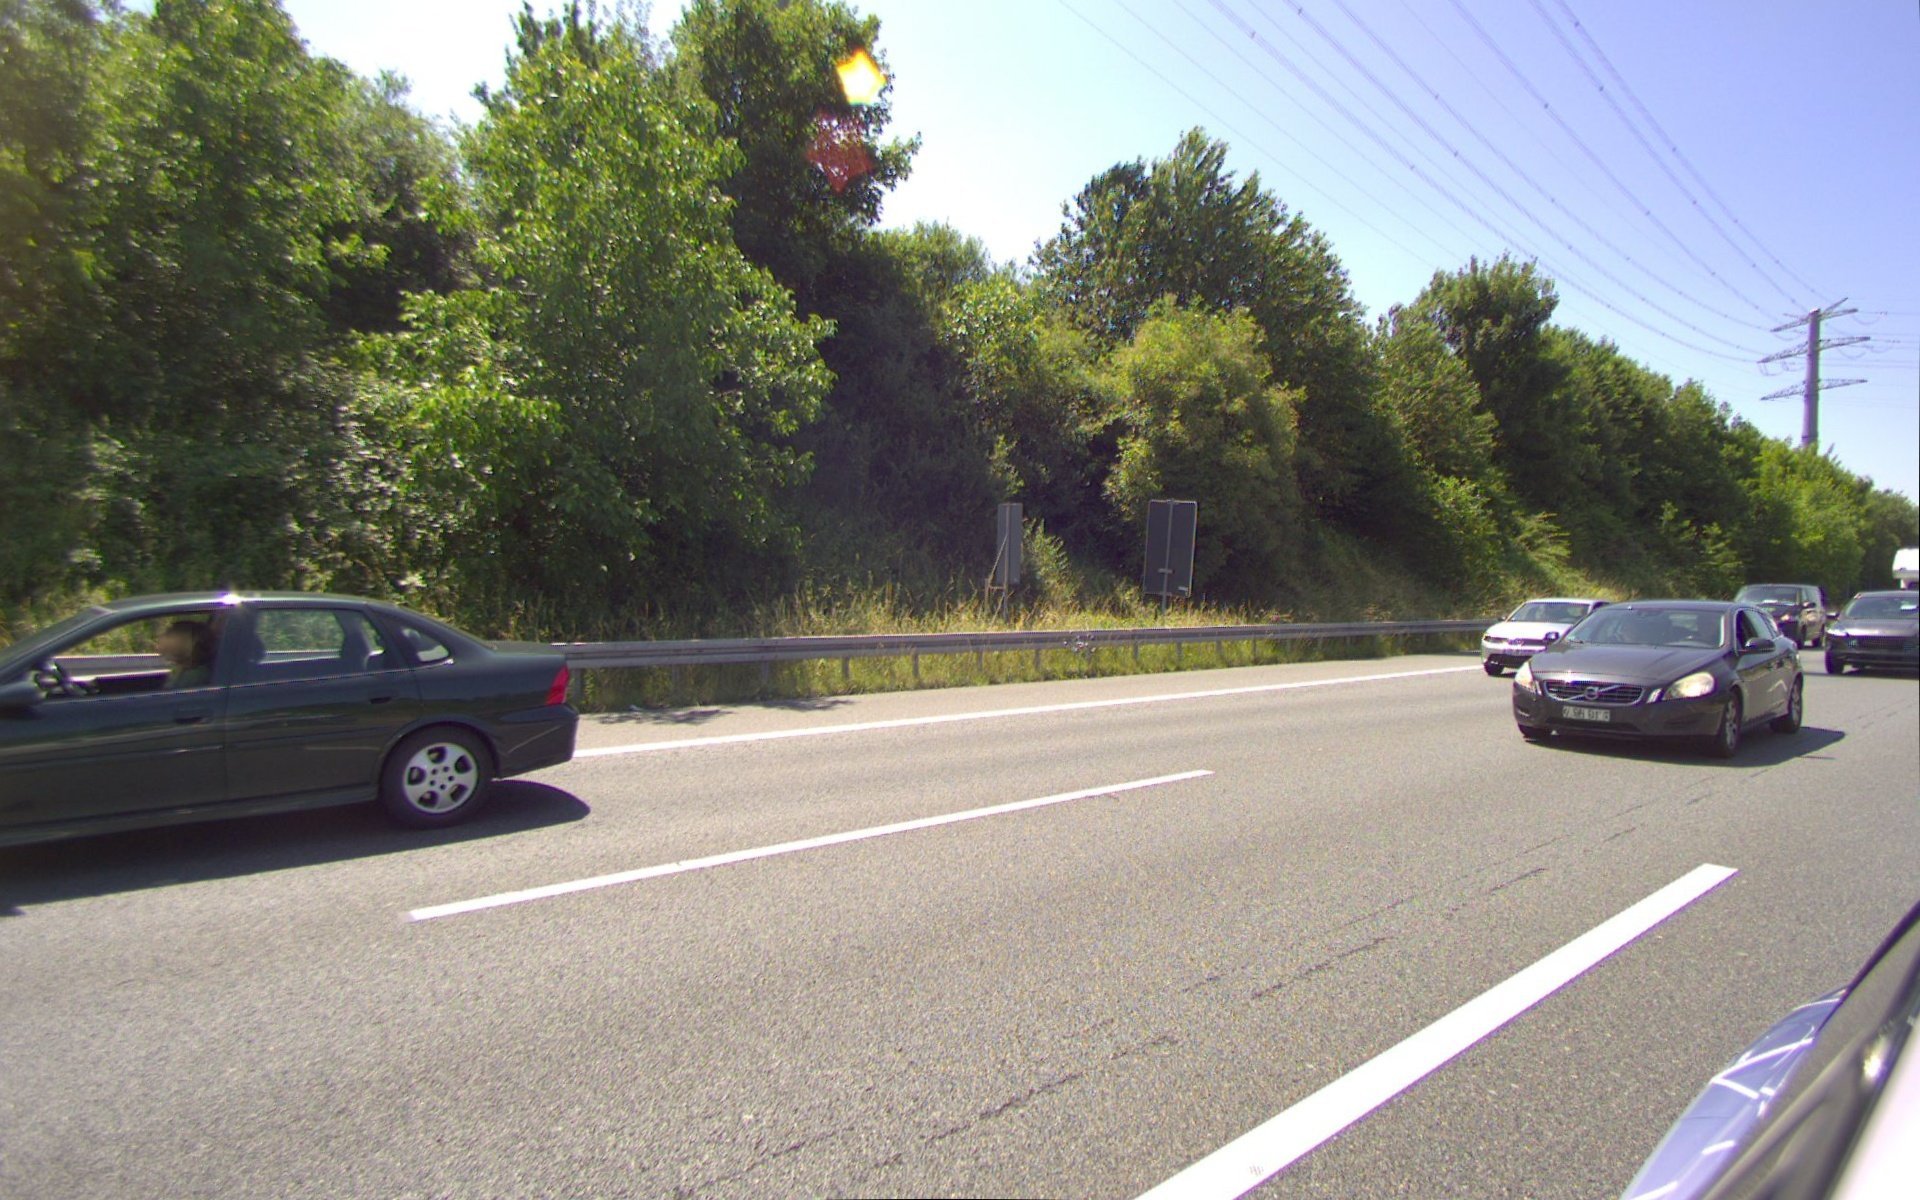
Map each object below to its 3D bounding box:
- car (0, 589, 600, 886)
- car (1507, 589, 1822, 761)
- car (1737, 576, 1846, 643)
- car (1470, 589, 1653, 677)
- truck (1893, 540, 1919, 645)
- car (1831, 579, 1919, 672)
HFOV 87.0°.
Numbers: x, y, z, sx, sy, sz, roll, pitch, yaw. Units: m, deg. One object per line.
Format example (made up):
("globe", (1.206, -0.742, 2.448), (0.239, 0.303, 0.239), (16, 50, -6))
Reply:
("car", (-4.517, 0.641, 5.914), (4.226, 1.395, 1.738), (-1, 0, -40))
("car", (7.539, 0.618, 10.669), (4.157, 1.455, 1.799), (-1, 0, -41))
("car", (25.784, 0.248, 31.324), (4.615, 1.928, 1.787), (-1, 0, -40))
("car", (11.336, 0.541, 18.980), (3.942, 1.488, 1.744), (0, 0, -40))
("truck", (32.139, -0.250, 32.000), (9.719, 3.053, 2.513), (-1, 0, -39))
("car", (19.178, 0.450, 20.398), (4.307, 1.724, 1.890), (-1, 0, -41))
